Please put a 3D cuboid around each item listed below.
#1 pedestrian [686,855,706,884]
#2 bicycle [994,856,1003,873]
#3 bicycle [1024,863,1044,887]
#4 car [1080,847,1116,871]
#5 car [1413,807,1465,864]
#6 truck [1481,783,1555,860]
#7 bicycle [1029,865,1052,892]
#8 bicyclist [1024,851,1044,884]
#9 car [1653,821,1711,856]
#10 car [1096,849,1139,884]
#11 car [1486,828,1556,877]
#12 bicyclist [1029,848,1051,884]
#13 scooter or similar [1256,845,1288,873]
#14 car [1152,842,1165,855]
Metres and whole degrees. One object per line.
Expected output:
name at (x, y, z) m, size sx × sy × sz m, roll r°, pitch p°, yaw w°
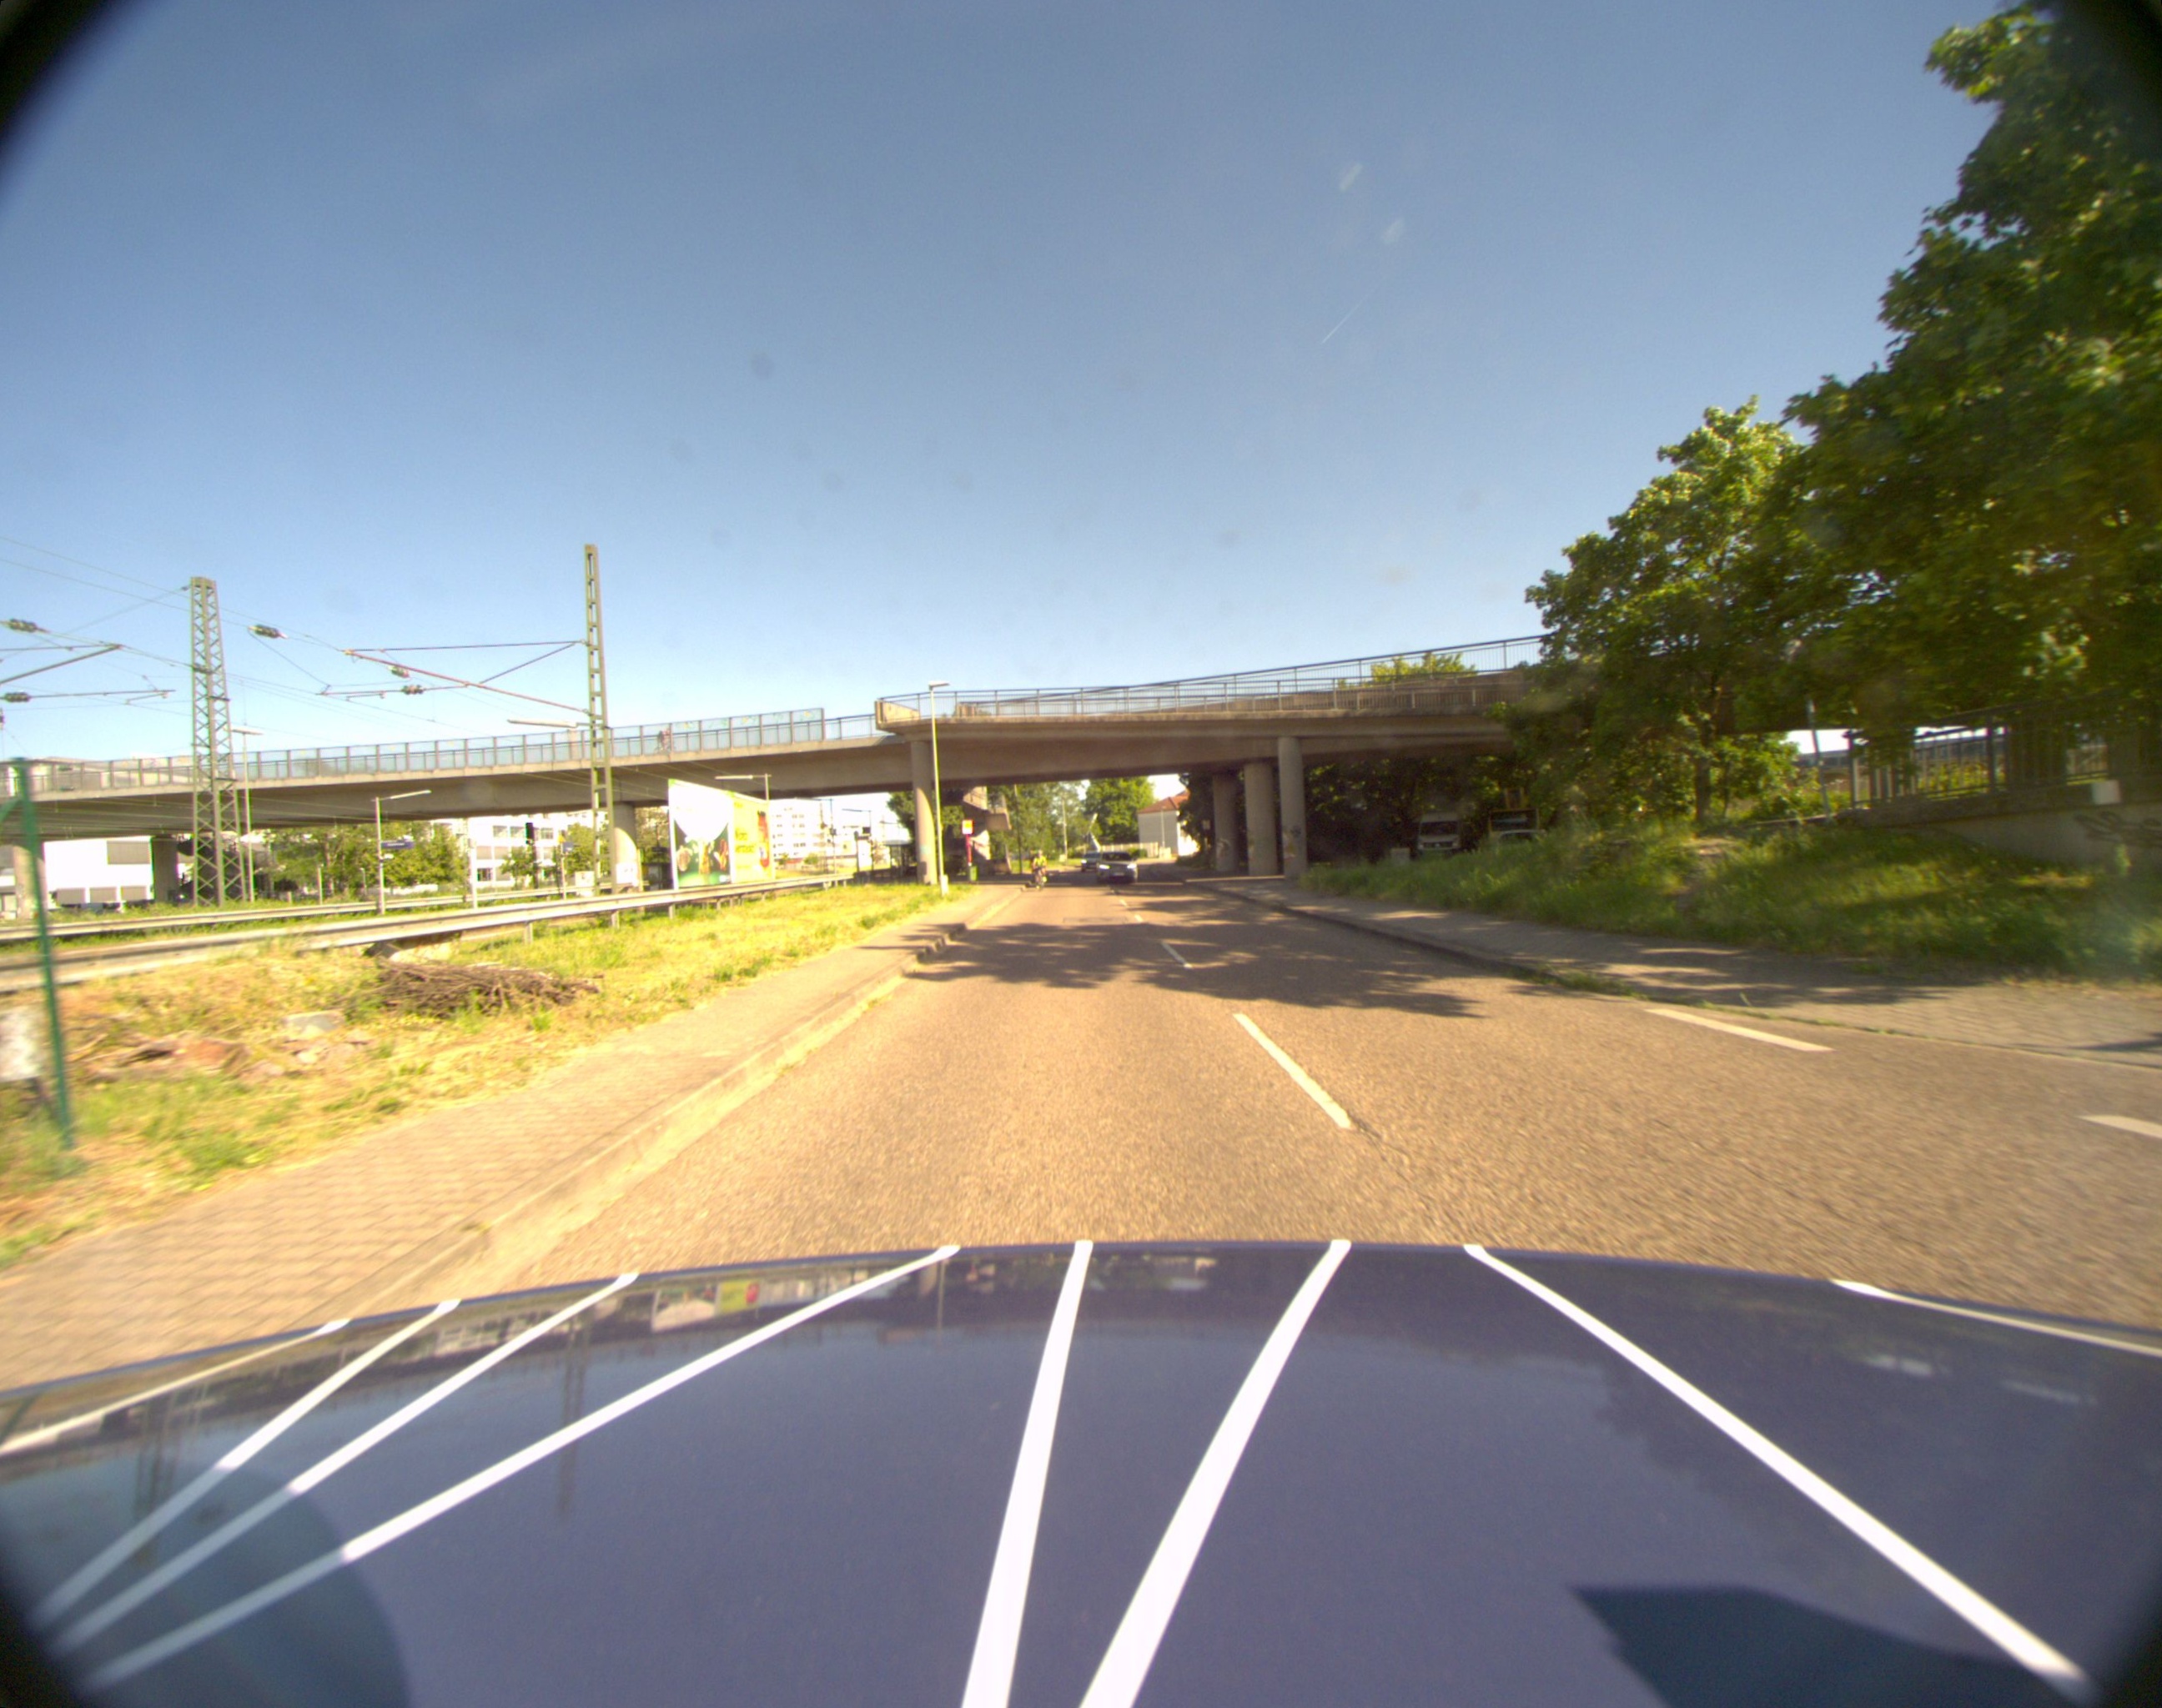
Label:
pedestrian at (-26.968, 1.087, 53.274) m, size 0.895 × 2.002 × 0.835 m, roll -3°, pitch 1°, yaw -3°
bicycle at (-5.741, 0.718, 52.857) m, size 0.599 × 1.175 × 2.180 m, roll -2°, pitch 1°, yaw -6°
bicycle at (-2.216, 0.970, 35.930) m, size 0.843 × 1.045 × 2.189 m, roll -3°, pitch 1°, yaw -2°
car at (1.349, 0.356, 58.859) m, size 1.848 × 1.621 × 4.299 m, roll -2°, pitch 1°, yaw 14°
car at (18.658, -0.904, 39.407) m, size 1.942 × 2.665 × 6.020 m, roll -2°, pitch 0°, yaw 29°
truck at (22.933, -1.671, 39.626) m, size 2.476 × 3.531 × 7.982 m, roll -2°, pitch 1°, yaw 35°
bicycle at (-1.711, 1.039, 32.498) m, size 0.843 × 1.045 × 2.189 m, roll -2°, pitch 1°, yaw -1°
bicyclist at (-2.226, 0.619, 35.933) m, size 0.843 × 1.480 × 0.923 m, roll -3°, pitch 1°, yaw -2°
car at (27.135, -0.721, 34.400) m, size 1.735 × 1.434 × 4.258 m, roll -2°, pitch 1°, yaw 34°
car at (1.787, 0.588, 38.330) m, size 1.850 × 1.621 × 4.294 m, roll -2°, pitch 0°, yaw -1°
car at (16.028, -0.102, 27.586) m, size 1.864 × 1.632 × 4.290 m, roll 1°, pitch 2°, yaw 34°
bicyclist at (-1.738, 0.515, 32.531) m, size 0.843 × 1.480 × 0.923 m, roll -2°, pitch 1°, yaw -1°
scooter or similar at (9.194, 0.260, 36.592) m, size 1.305 × 1.293 × 0.580 m, roll -2°, pitch 1°, yaw 40°
car at (11.957, -0.878, 117.422) m, size 1.998 × 1.767 × 4.366 m, roll -3°, pitch 1°, yaw 5°
